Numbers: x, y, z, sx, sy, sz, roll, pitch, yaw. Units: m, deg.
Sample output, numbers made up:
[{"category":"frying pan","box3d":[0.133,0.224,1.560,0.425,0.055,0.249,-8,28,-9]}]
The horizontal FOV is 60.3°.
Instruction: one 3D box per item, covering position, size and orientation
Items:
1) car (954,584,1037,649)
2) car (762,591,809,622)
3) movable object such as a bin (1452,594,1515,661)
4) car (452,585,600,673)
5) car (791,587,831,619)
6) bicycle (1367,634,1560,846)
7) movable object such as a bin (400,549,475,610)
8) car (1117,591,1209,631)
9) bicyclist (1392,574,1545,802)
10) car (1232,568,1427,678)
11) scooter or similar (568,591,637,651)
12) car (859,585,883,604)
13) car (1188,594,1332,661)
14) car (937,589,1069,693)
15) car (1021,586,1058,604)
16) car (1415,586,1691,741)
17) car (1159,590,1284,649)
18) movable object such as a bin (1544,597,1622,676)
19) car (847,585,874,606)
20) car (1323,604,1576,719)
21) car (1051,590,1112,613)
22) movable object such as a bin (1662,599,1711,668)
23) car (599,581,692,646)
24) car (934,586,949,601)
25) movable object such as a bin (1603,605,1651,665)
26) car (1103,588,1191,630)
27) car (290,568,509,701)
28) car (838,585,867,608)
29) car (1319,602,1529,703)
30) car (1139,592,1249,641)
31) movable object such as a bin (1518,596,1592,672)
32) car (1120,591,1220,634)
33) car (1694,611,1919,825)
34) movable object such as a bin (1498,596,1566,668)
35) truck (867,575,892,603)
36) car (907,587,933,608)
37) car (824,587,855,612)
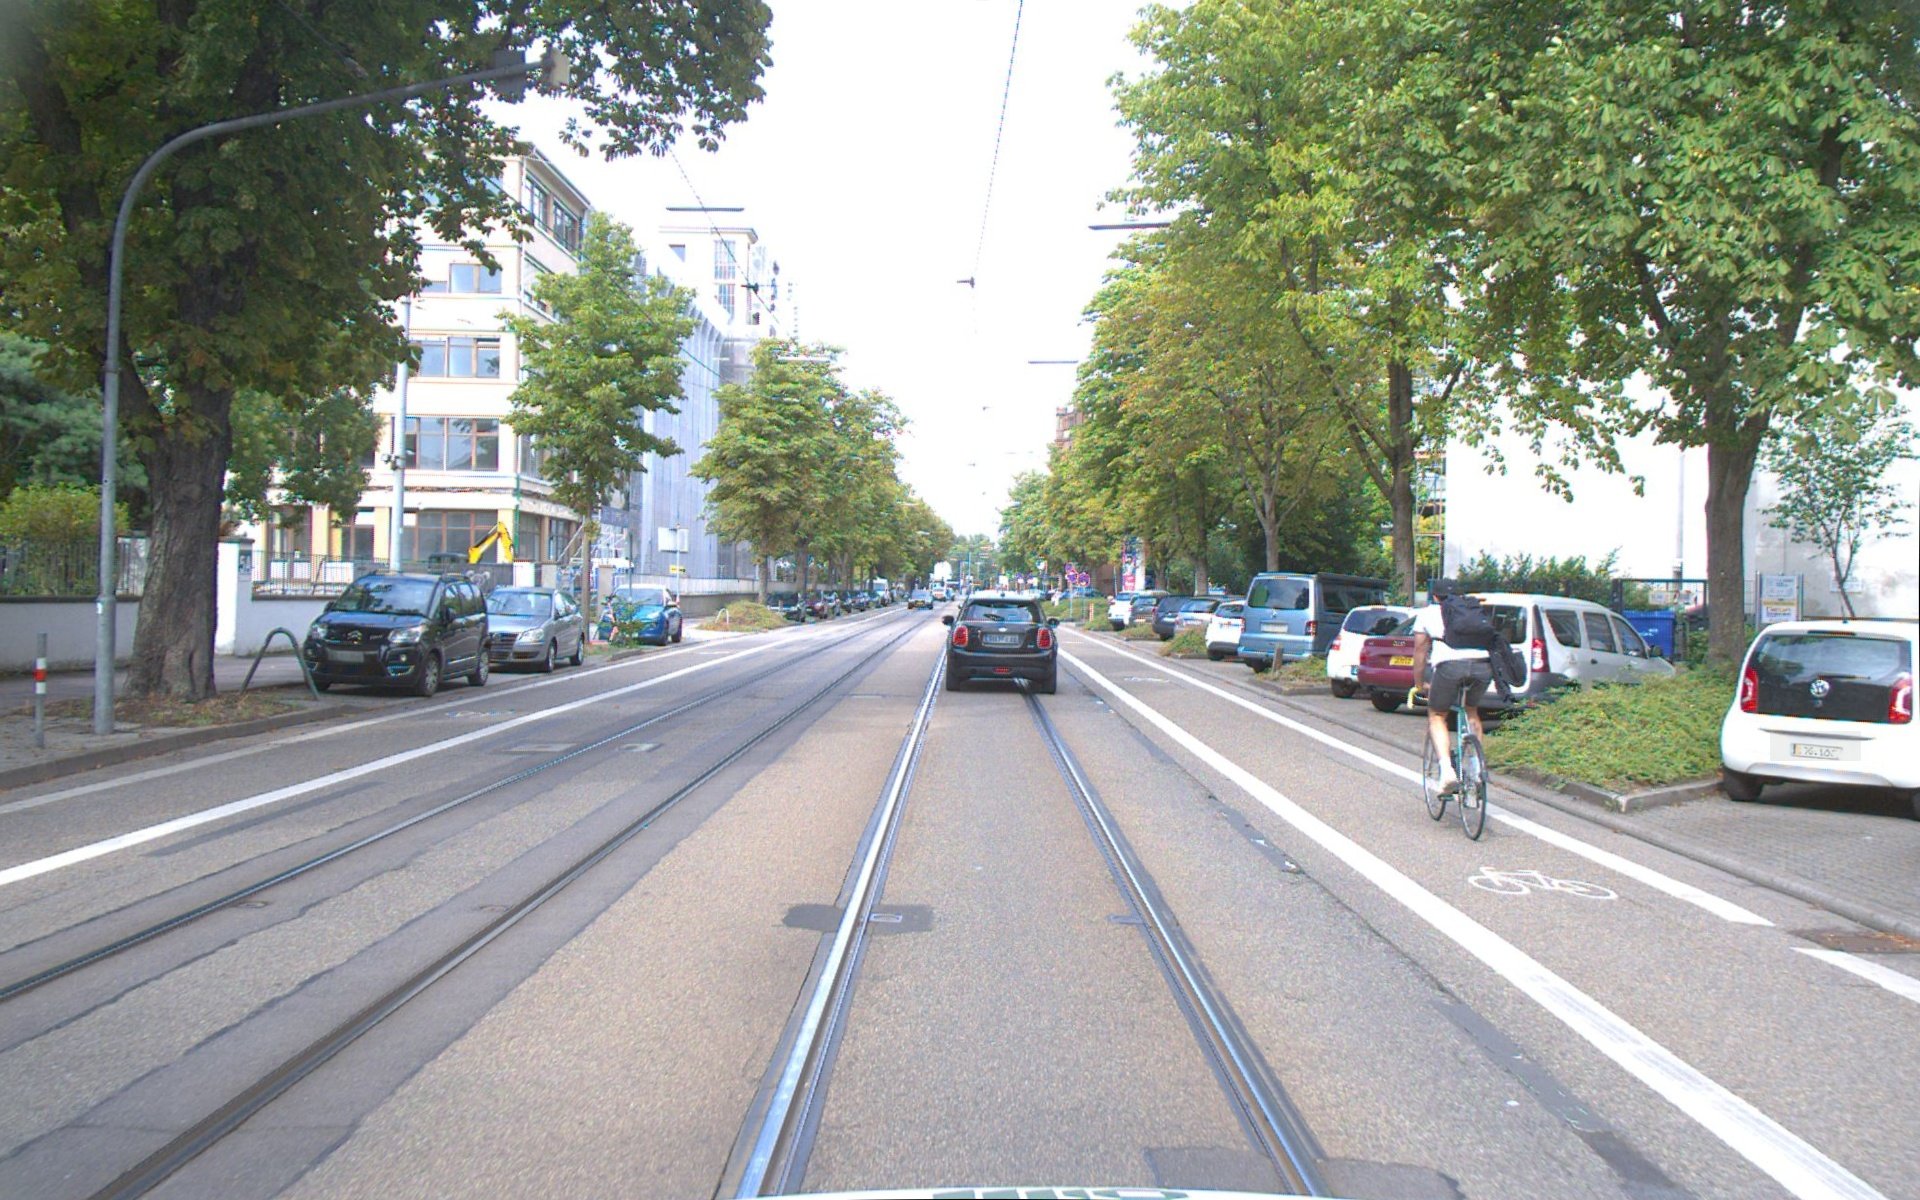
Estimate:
[{"category":"car","box3d":[0.850,0.375,42.091,1.758,1.495,3.998,3,0,-3]},{"category":"car","box3d":[-7.998,0.273,76.074,1.765,1.398,4.031,0,0,0]},{"category":"movable object such as a bin","box3d":[12.585,0.656,39.784,1.047,1.534,1.334,2,0,1]},{"category":"car","box3d":[-7.869,0.480,30.311,1.658,1.452,3.868,2,0,0]},{"category":"car","box3d":[-7.778,0.140,86.624,1.765,1.611,4.031,0,0,0]},{"category":"bicycle","box3d":[3.503,0.923,11.702,0.644,1.270,2.124,2,1,-1]},{"category":"movable object such as a bin","box3d":[-18.716,-0.718,59.333,1.945,2.103,1.961,1,0,2]},{"category":"car","box3d":[7.742,0.426,63.057,3.413,1.468,1.539,1,0,-39]},{"category":"bicyclist","box3d":[3.524,0.579,11.550,0.644,1.489,1.178,2,0,-1]},{"category":"car","box3d":[7.444,0.451,33.095,1.801,2.050,4.245,2,0,45]},{"category":"scooter or similar","box3d":[-8.209,0.469,38.047,1.413,1.367,0.700,0,0,2]},{"category":"car","box3d":[-7.369,-0.460,136.831,1.765,1.611,4.031,0,0,0]},{"category":"car","box3d":[7.232,0.659,39.670,1.612,1.485,3.804,2,0,43]},{"category":"car","box3d":[0.601,0.584,25.954,1.757,1.448,3.998,2,0,-3]},{"category":"car","box3d":[9.073,-0.579,189.037,3.907,1.944,1.999,2,0,-3]},{"category":"car","box3d":[7.407,0.742,20.468,1.661,1.697,4.079,2,0,44]},{"category":"car","box3d":[7.378,0.559,46.495,1.613,1.549,3.712,2,0,45]},{"category":"movable object such as a bin","box3d":[12.628,0.724,33.548,1.047,1.534,1.323,2,0,1]},{"category":"car","box3d":[-7.530,-0.347,125.425,1.765,1.611,4.031,0,0,0]},{"category":"car","box3d":[7.013,0.838,23.521,3.942,1.457,1.663,2,0,-43]},{"category":"car","box3d":[8.208,0.093,111.816,3.907,1.449,1.884,1,0,-3]},{"category":"movable object such as a bin","box3d":[17.400,0.790,39.614,1.011,1.589,1.078,2,0,24]},{"category":"car","box3d":[-7.992,0.316,42.352,1.658,1.513,3.677,2,0,0]},{"category":"car","box3d":[-2.239,-0.800,201.338,1.765,1.855,4.484,0,0,0]},{"category":"movable object such as a bin","box3d":[16.208,0.840,40.192,1.011,1.391,1.078,2,0,24]},{"category":"car","box3d":[7.458,0.352,65.973,3.413,1.600,1.539,1,0,-39]},{"category":"car","box3d":[-7.896,0.438,23.694,1.720,1.676,4.052,2,0,0]},{"category":"car","box3d":[-7.541,-0.259,116.386,1.765,1.611,4.031,0,0,0]},{"category":"car","box3d":[7.484,0.820,26.517,1.661,1.457,3.689,2,0,45]},{"category":"car","box3d":[7.540,0.552,53.125,1.613,1.484,3.712,2,0,45]},{"category":"movable object such as a bin","box3d":[12.648,0.707,35.196,1.047,1.534,1.323,2,0,1]},{"category":"car","box3d":[7.637,0.457,60.048,3.500,1.468,1.601,1,0,-39]},{"category":"car","box3d":[7.955,0.911,14.220,1.661,1.537,4.062,2,0,45]},{"category":"movable object such as a bin","box3d":[12.618,0.692,36.505,1.047,1.534,1.214,2,0,1]},{"category":"truck","box3d":[-7.280,-1.022,149.936,2.028,2.513,4.898,0,0,0]},{"category":"car","box3d":[-2.976,-0.220,123.742,1.797,1.473,4.553,1,0,0]},{"category":"car","box3d":[-7.717,-0.036,106.229,1.765,1.611,4.031,0,0,0]}]
